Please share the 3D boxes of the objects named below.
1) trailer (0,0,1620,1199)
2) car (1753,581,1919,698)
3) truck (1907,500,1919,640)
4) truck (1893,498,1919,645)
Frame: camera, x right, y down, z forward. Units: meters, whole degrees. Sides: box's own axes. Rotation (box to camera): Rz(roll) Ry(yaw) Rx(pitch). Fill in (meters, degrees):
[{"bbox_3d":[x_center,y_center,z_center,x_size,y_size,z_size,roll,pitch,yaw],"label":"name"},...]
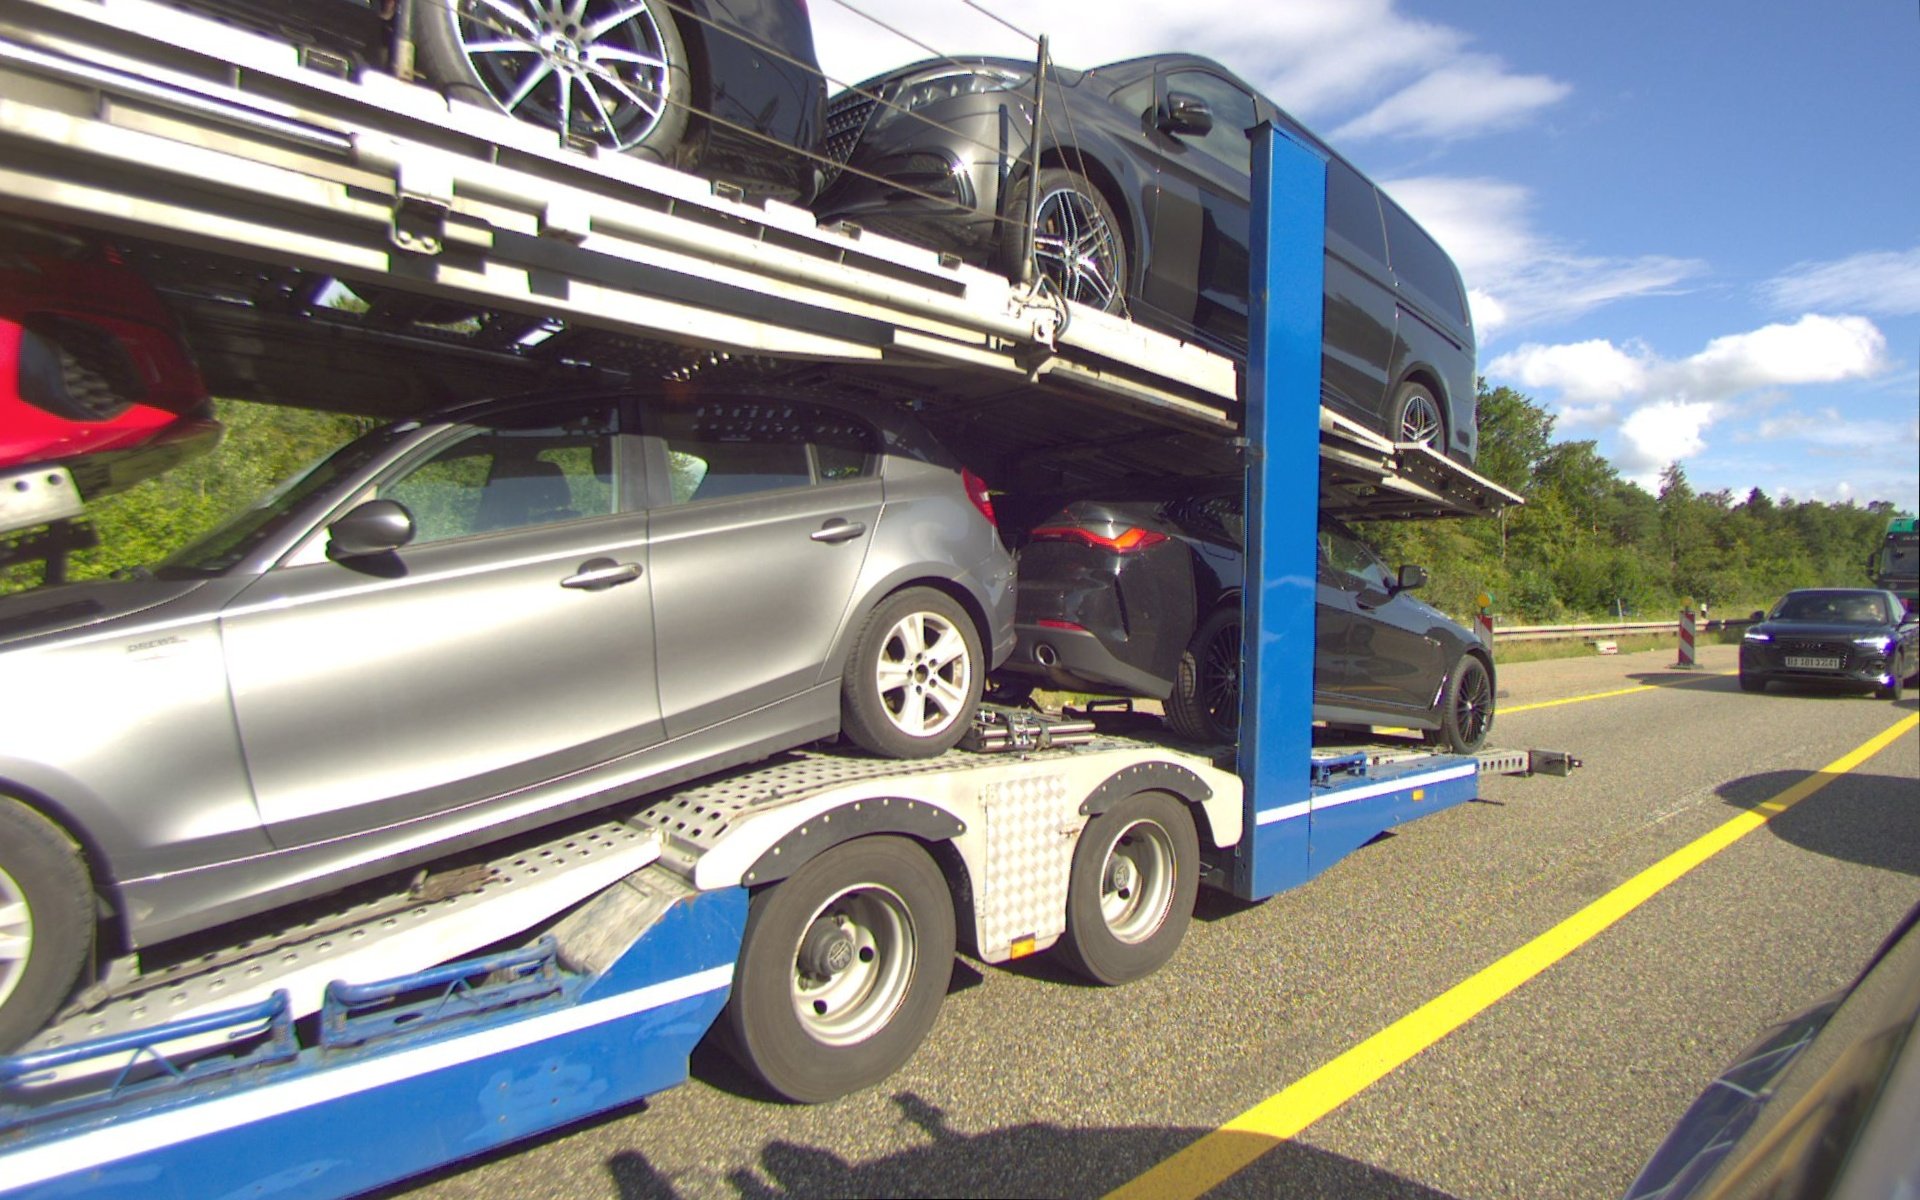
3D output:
[{"bbox_3d":[-2.661,-0.780,3.243,15.943,4.249,3.733,-1,0,-41],"label":"trailer"},{"bbox_3d":[14.146,0.516,15.998,4.219,1.622,1.781,-1,0,-41],"label":"car"},{"bbox_3d":[34.857,-0.957,34.320,13.960,4.196,2.469,-1,0,-41],"label":"truck"},{"bbox_3d":[30.177,-0.847,30.346,6.737,4.151,2.526,-1,0,-41],"label":"truck"}]
